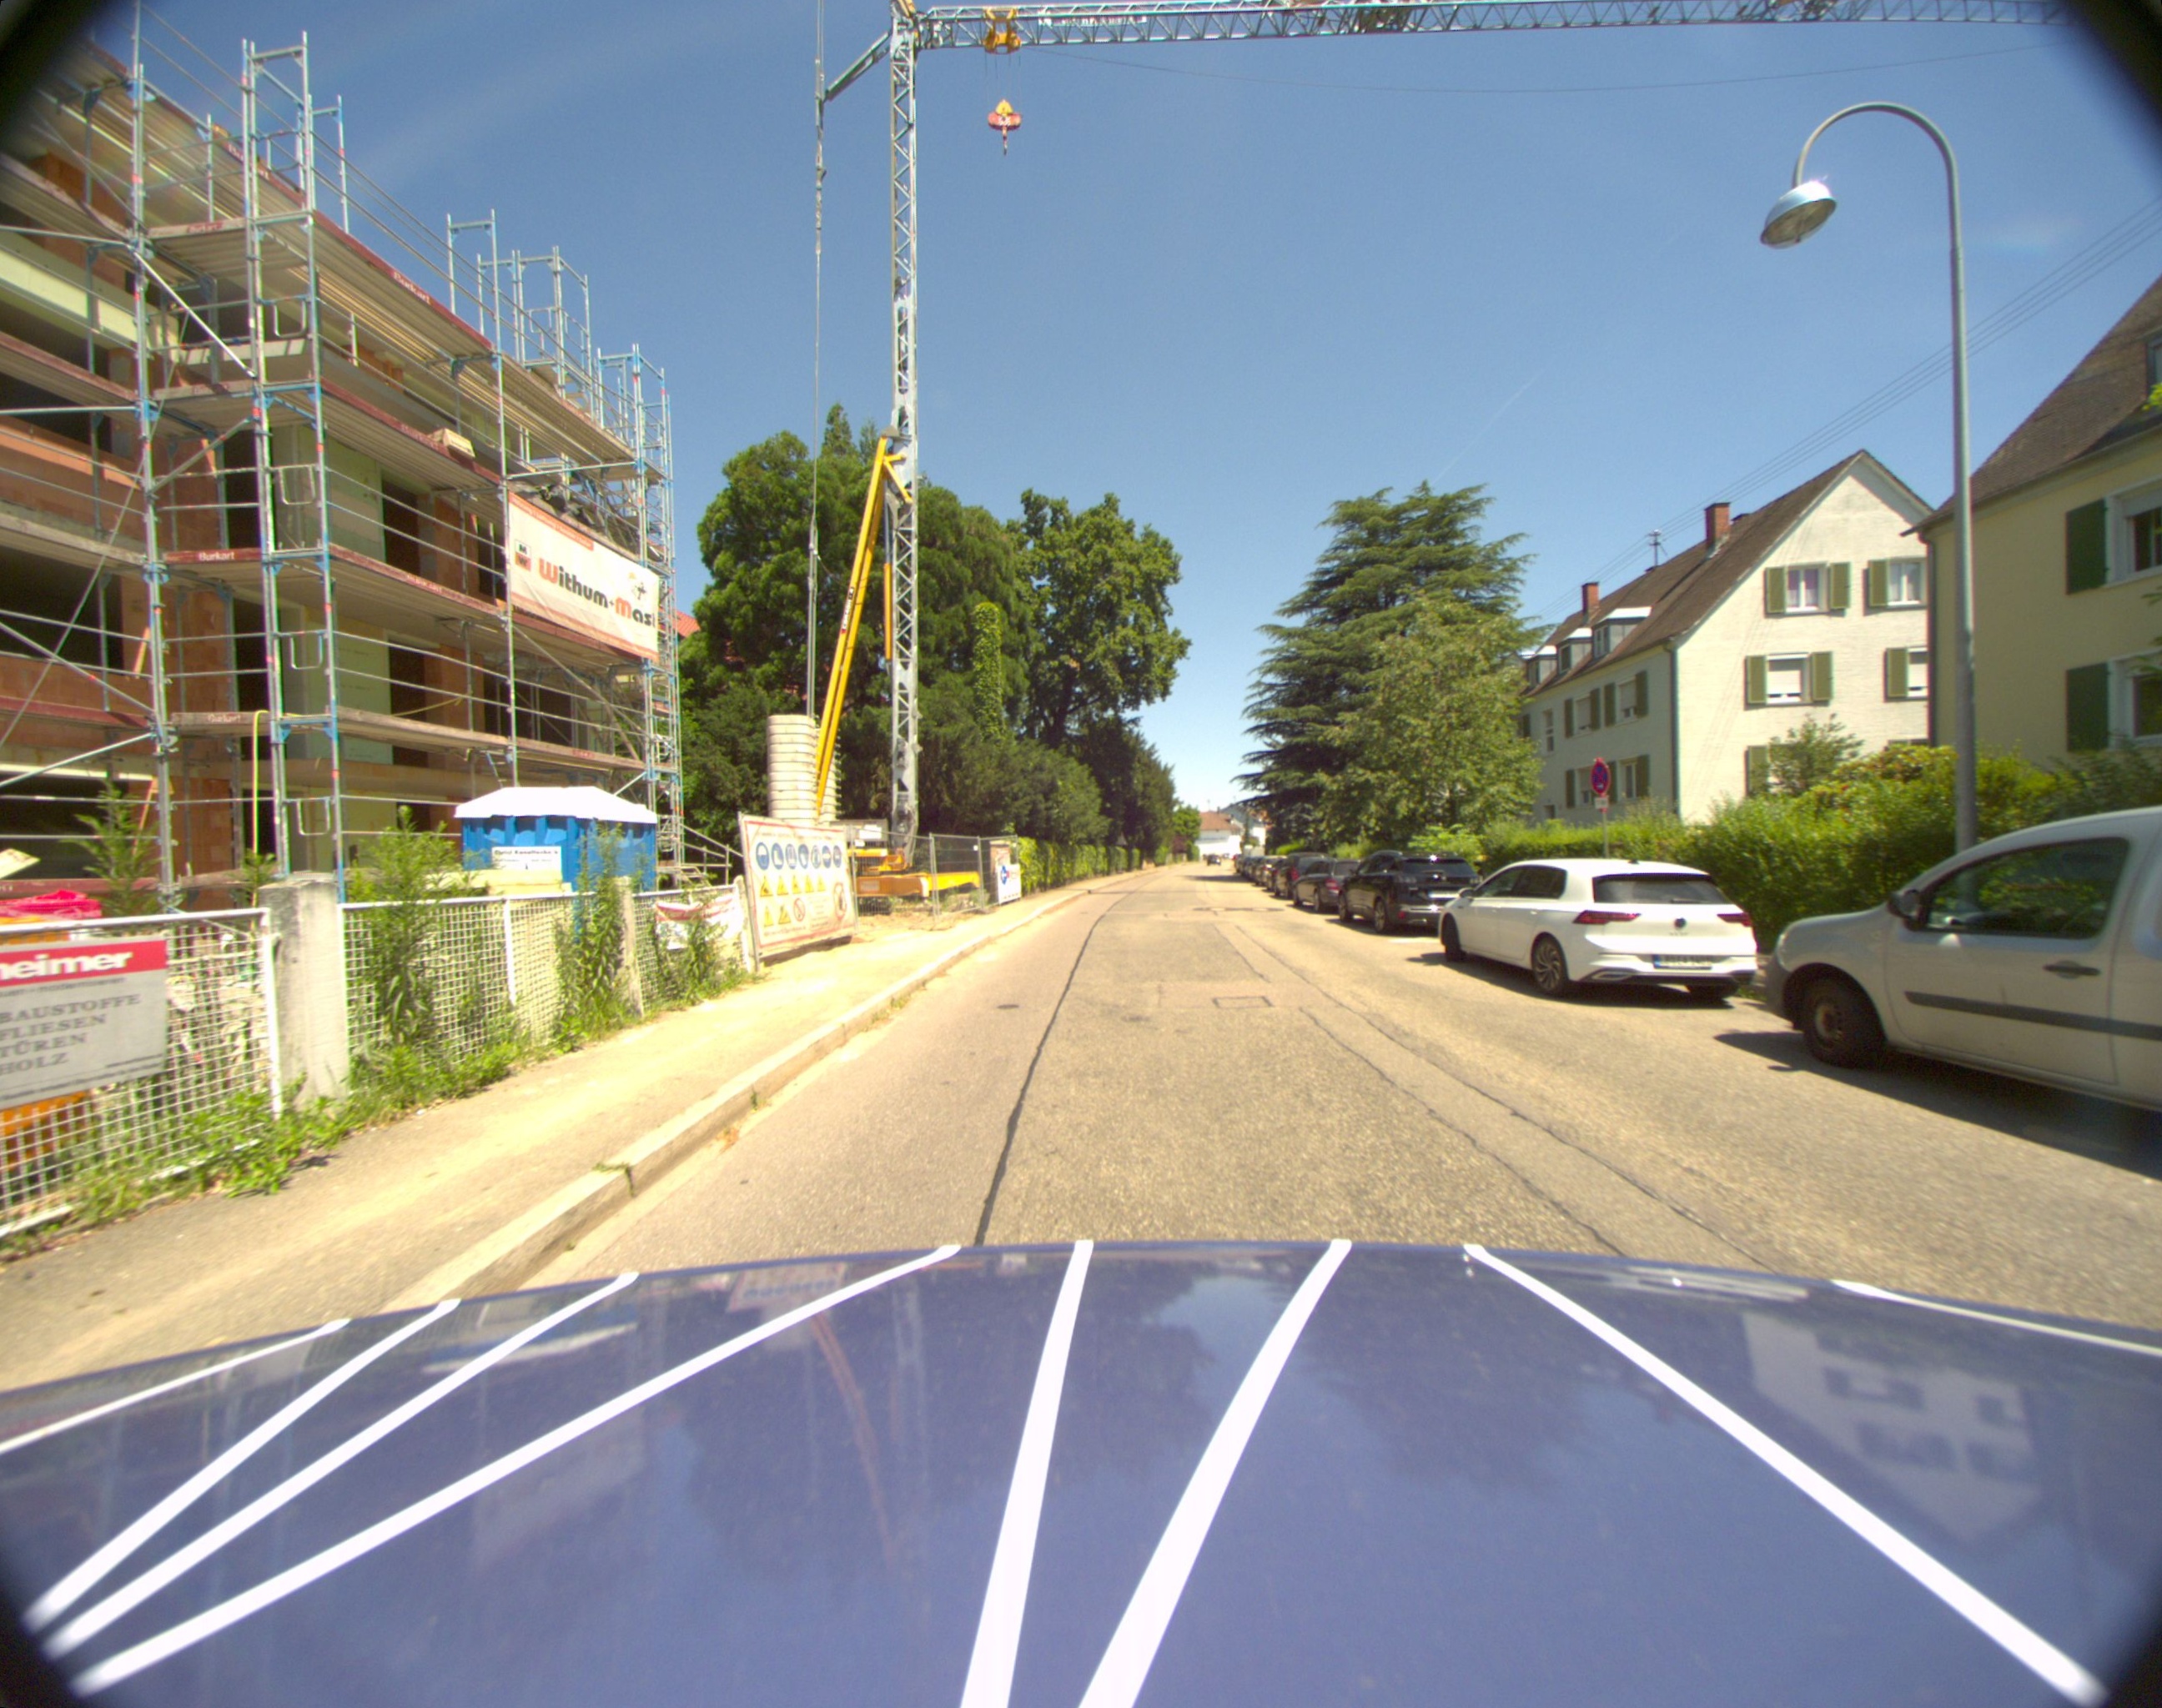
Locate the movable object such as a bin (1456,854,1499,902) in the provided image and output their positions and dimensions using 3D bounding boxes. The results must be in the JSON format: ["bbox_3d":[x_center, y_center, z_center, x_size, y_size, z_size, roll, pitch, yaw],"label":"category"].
[{"bbox_3d":[11.253,0.666,21.592,0.754,1.324,0.964,0,0,5],"label":"movable object such as a bin"}]

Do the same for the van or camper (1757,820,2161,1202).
[{"bbox_3d":[5.929,0.742,3.772,1.685,1.793,3.986,0,0,2],"label":"van or camper"}]

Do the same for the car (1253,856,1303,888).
[{"bbox_3d":[9.318,0.812,36.198,1.800,1.434,3.787,0,0,7],"label":"car"}]

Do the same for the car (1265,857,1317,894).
[{"bbox_3d":[8.624,0.853,31.482,1.684,1.393,3.792,0,0,10],"label":"car"}]

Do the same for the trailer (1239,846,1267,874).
[{"bbox_3d":[13.203,0.416,58.417,1.817,2.021,4.003,1,1,9],"label":"trailer"}]

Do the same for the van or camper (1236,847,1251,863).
[{"bbox_3d":[18.498,0.145,86.662,1.582,1.760,3.892,0,0,12],"label":"van or camper"}]

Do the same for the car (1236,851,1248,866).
[{"bbox_3d":[17.273,0.511,81.620,1.307,1.568,2.323,0,0,12],"label":"car"}]

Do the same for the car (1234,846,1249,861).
[{"bbox_3d":[20.358,-0.095,96.274,1.891,1.749,3.615,1,1,12],"label":"car"}]

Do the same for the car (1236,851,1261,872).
[{"bbox_3d":[13.768,0.583,62.683,1.771,1.610,4.552,1,0,10],"label":"car"}]

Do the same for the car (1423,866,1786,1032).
[{"bbox_3d":[5.791,0.911,9.170,1.684,1.433,4.248,0,0,4],"label":"car"}]

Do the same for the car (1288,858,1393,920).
[{"bbox_3d":[6.992,0.880,20.902,1.684,1.467,4.331,0,0,4],"label":"car"}]

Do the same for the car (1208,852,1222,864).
[{"bbox_3d":[18.173,0.507,103.108,1.902,1.565,4.144,0,0,9],"label":"car"}]

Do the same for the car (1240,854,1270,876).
[{"bbox_3d":[12.017,0.732,52.582,1.799,1.434,4.480,0,0,10],"label":"car"}]

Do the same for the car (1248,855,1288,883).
[{"bbox_3d":[10.164,0.776,41.531,1.799,1.434,4.275,0,0,10],"label":"car"}]

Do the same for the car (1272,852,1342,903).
[{"bbox_3d":[7.743,0.738,26.342,1.684,1.630,3.791,0,0,7],"label":"car"}]

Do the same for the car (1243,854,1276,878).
[{"bbox_3d":[11.262,0.738,48.078,1.799,1.434,3.899,0,0,10],"label":"car"}]

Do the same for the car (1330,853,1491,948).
[{"bbox_3d":[6.493,0.814,15.520,1.684,1.627,4.331,0,0,4],"label":"car"}]
